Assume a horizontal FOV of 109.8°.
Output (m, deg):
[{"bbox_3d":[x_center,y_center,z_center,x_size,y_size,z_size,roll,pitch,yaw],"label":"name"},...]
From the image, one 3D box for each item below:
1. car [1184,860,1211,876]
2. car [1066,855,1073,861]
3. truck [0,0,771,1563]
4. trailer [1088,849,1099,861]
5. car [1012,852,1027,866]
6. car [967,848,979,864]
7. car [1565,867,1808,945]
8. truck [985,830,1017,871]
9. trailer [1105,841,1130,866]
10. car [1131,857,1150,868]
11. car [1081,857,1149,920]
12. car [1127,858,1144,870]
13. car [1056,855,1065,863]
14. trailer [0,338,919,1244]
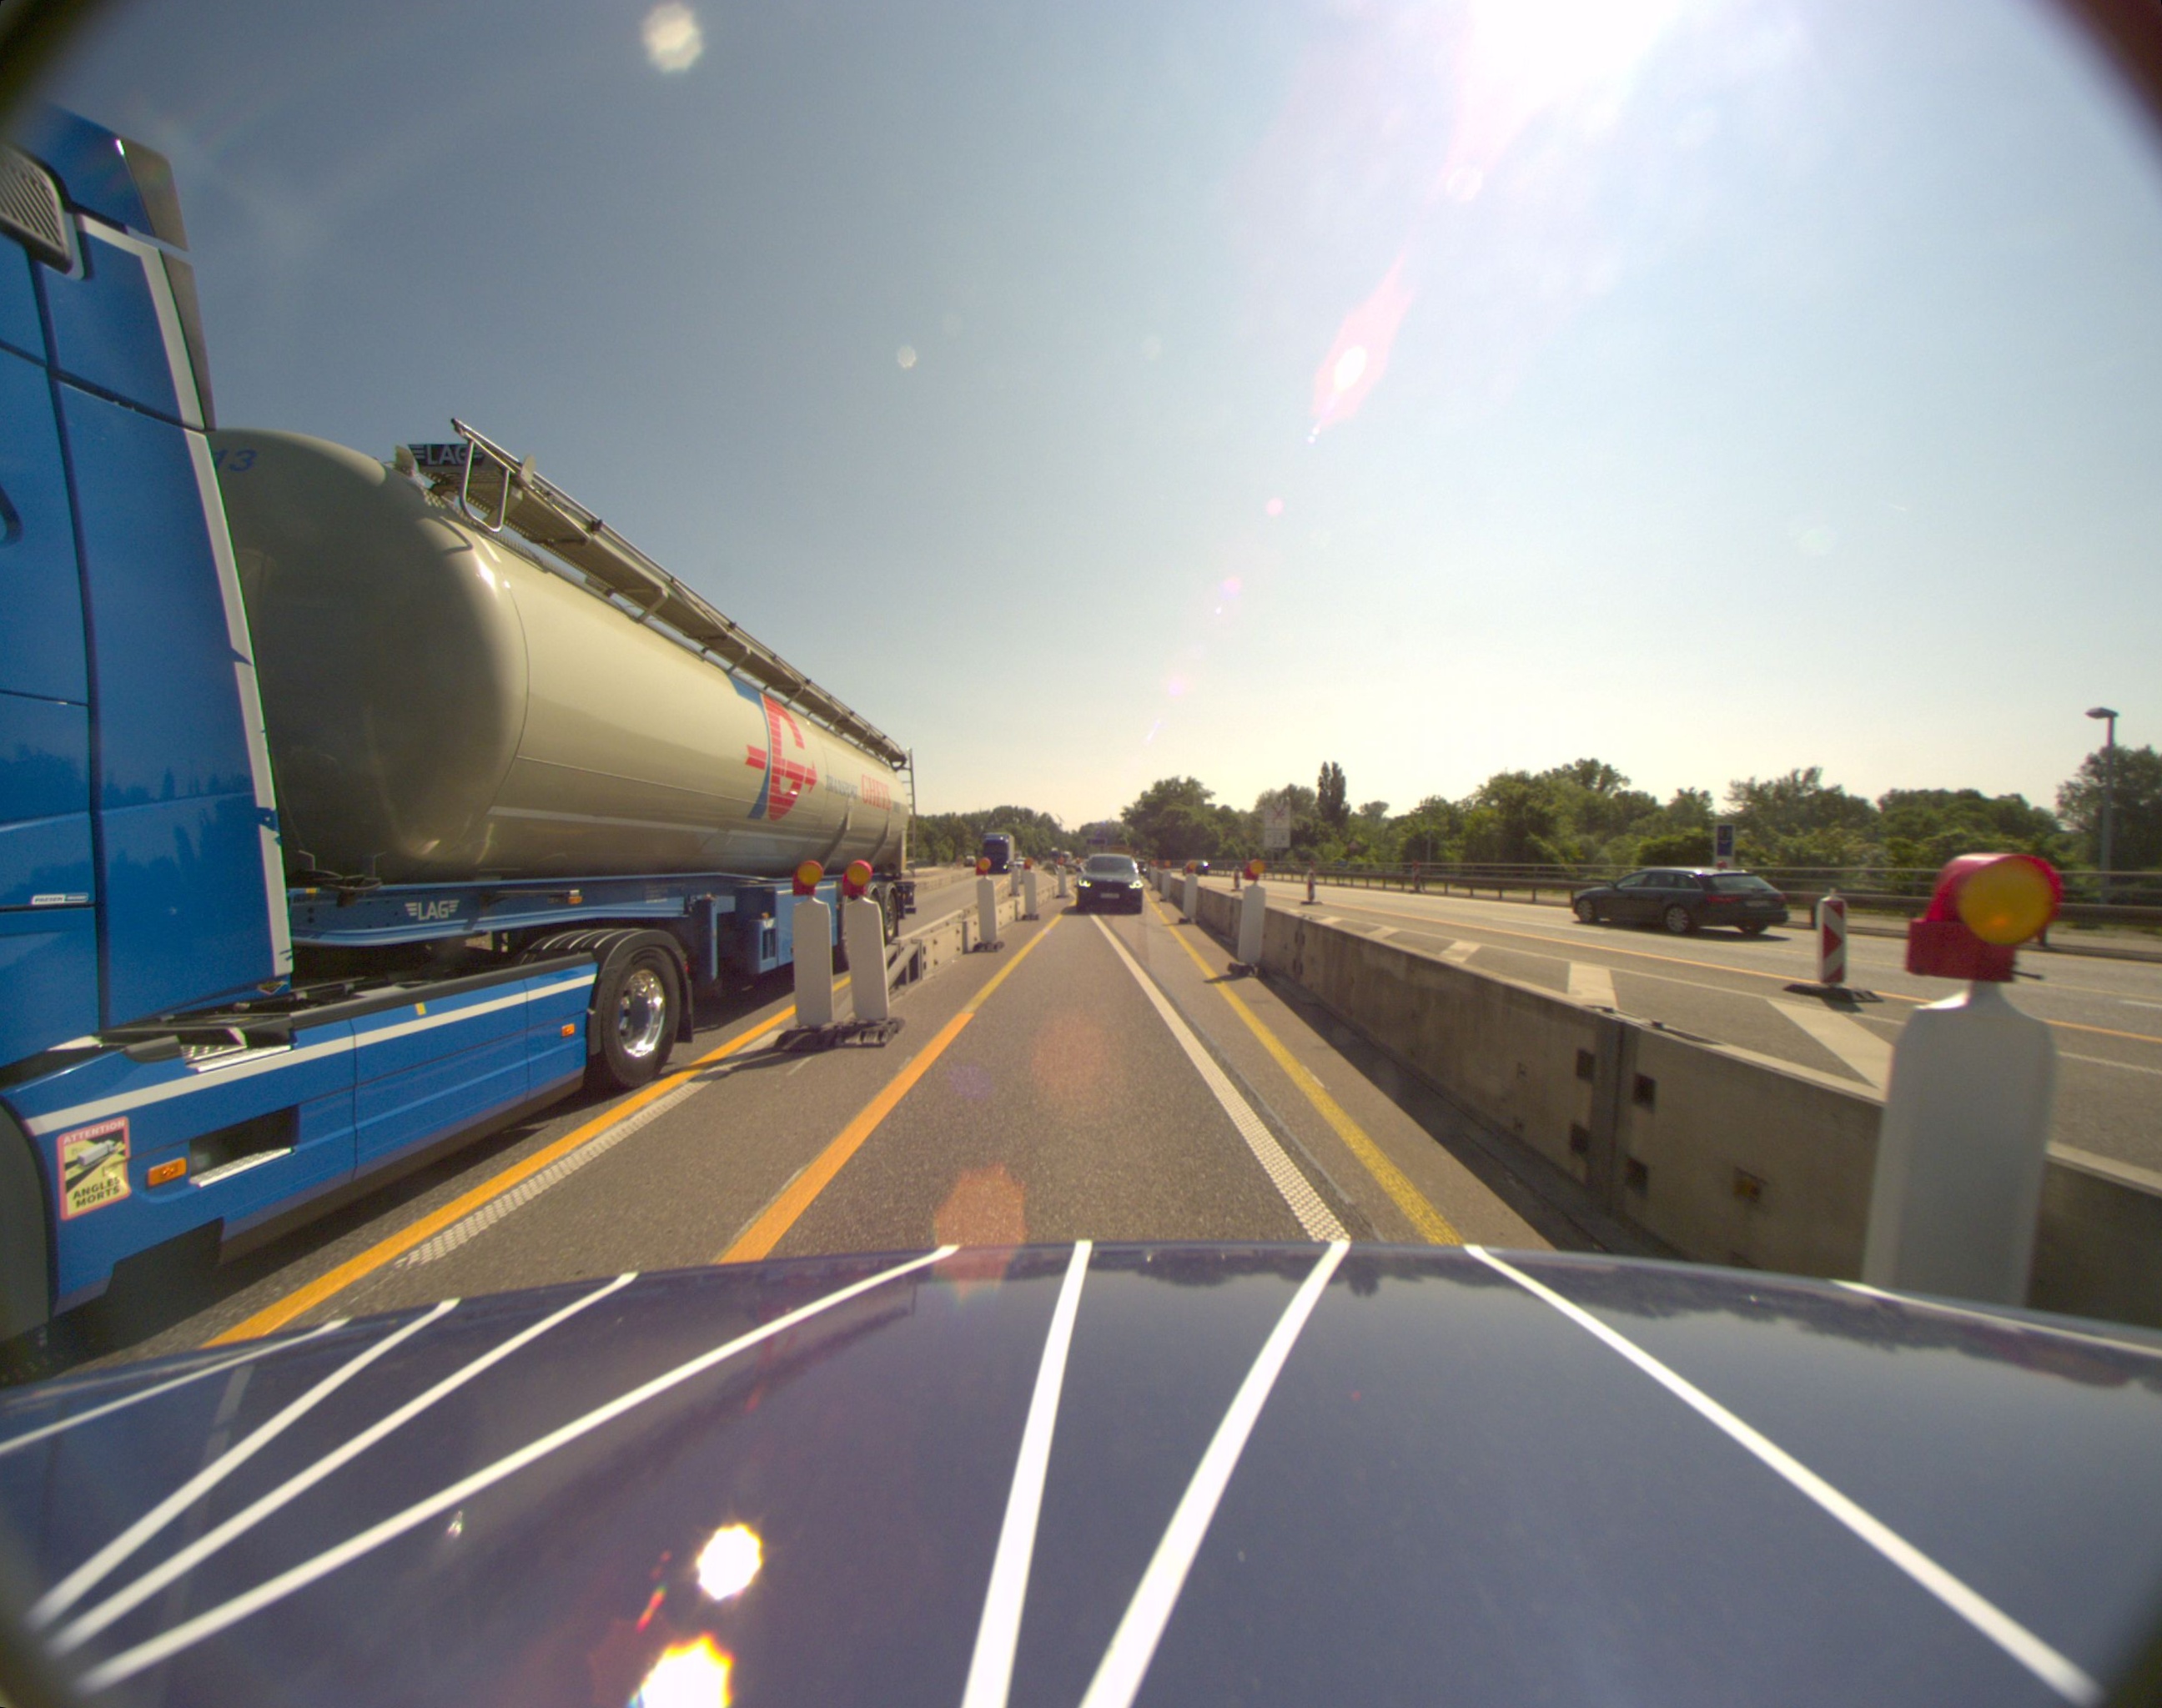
[{"bbox_3d":[11.146,1.302,73.053,1.671,1.433,4.996,0,0,-2],"label":"car"},{"bbox_3d":[-3.576,1.190,245.846,1.998,2.002,4.001,1,0,2],"label":"car"},{"bbox_3d":[-4.204,-0.216,3.602,2.701,4.078,7.298,1,0,-2],"label":"truck"},{"bbox_3d":[4.180,0.331,251.862,2.811,4.019,13.465,1,0,-3],"label":"trailer"},{"bbox_3d":[-8.901,0.688,110.808,1.999,2.002,3.999,1,0,-3],"label":"car"},{"bbox_3d":[-19.234,0.365,135.044,2.111,2.626,5.980,1,0,-9],"label":"car"},{"bbox_3d":[13.446,1.067,17.337,1.742,1.467,4.645,1,0,-2],"label":"car"},{"bbox_3d":[-8.141,-0.373,78.417,2.862,3.961,8.662,1,0,-4],"label":"truck"},{"bbox_3d":[6.435,-0.099,137.059,2.769,4.112,14.526,1,0,-4],"label":"trailer"},{"bbox_3d":[8.298,1.176,106.325,1.938,1.499,4.467,0,0,-4],"label":"car"},{"bbox_3d":[0.960,0.941,22.828,1.789,1.651,4.487,-2,0,1],"label":"car"},{"bbox_3d":[6.810,1.250,95.944,1.694,1.368,4.272,0,0,-2],"label":"car"},{"bbox_3d":[-4.659,1.134,173.736,1.747,1.621,4.092,1,0,0],"label":"car"},{"bbox_3d":[-4.501,-0.263,9.791,2.702,4.113,12.610,1,0,-3],"label":"trailer"}]
